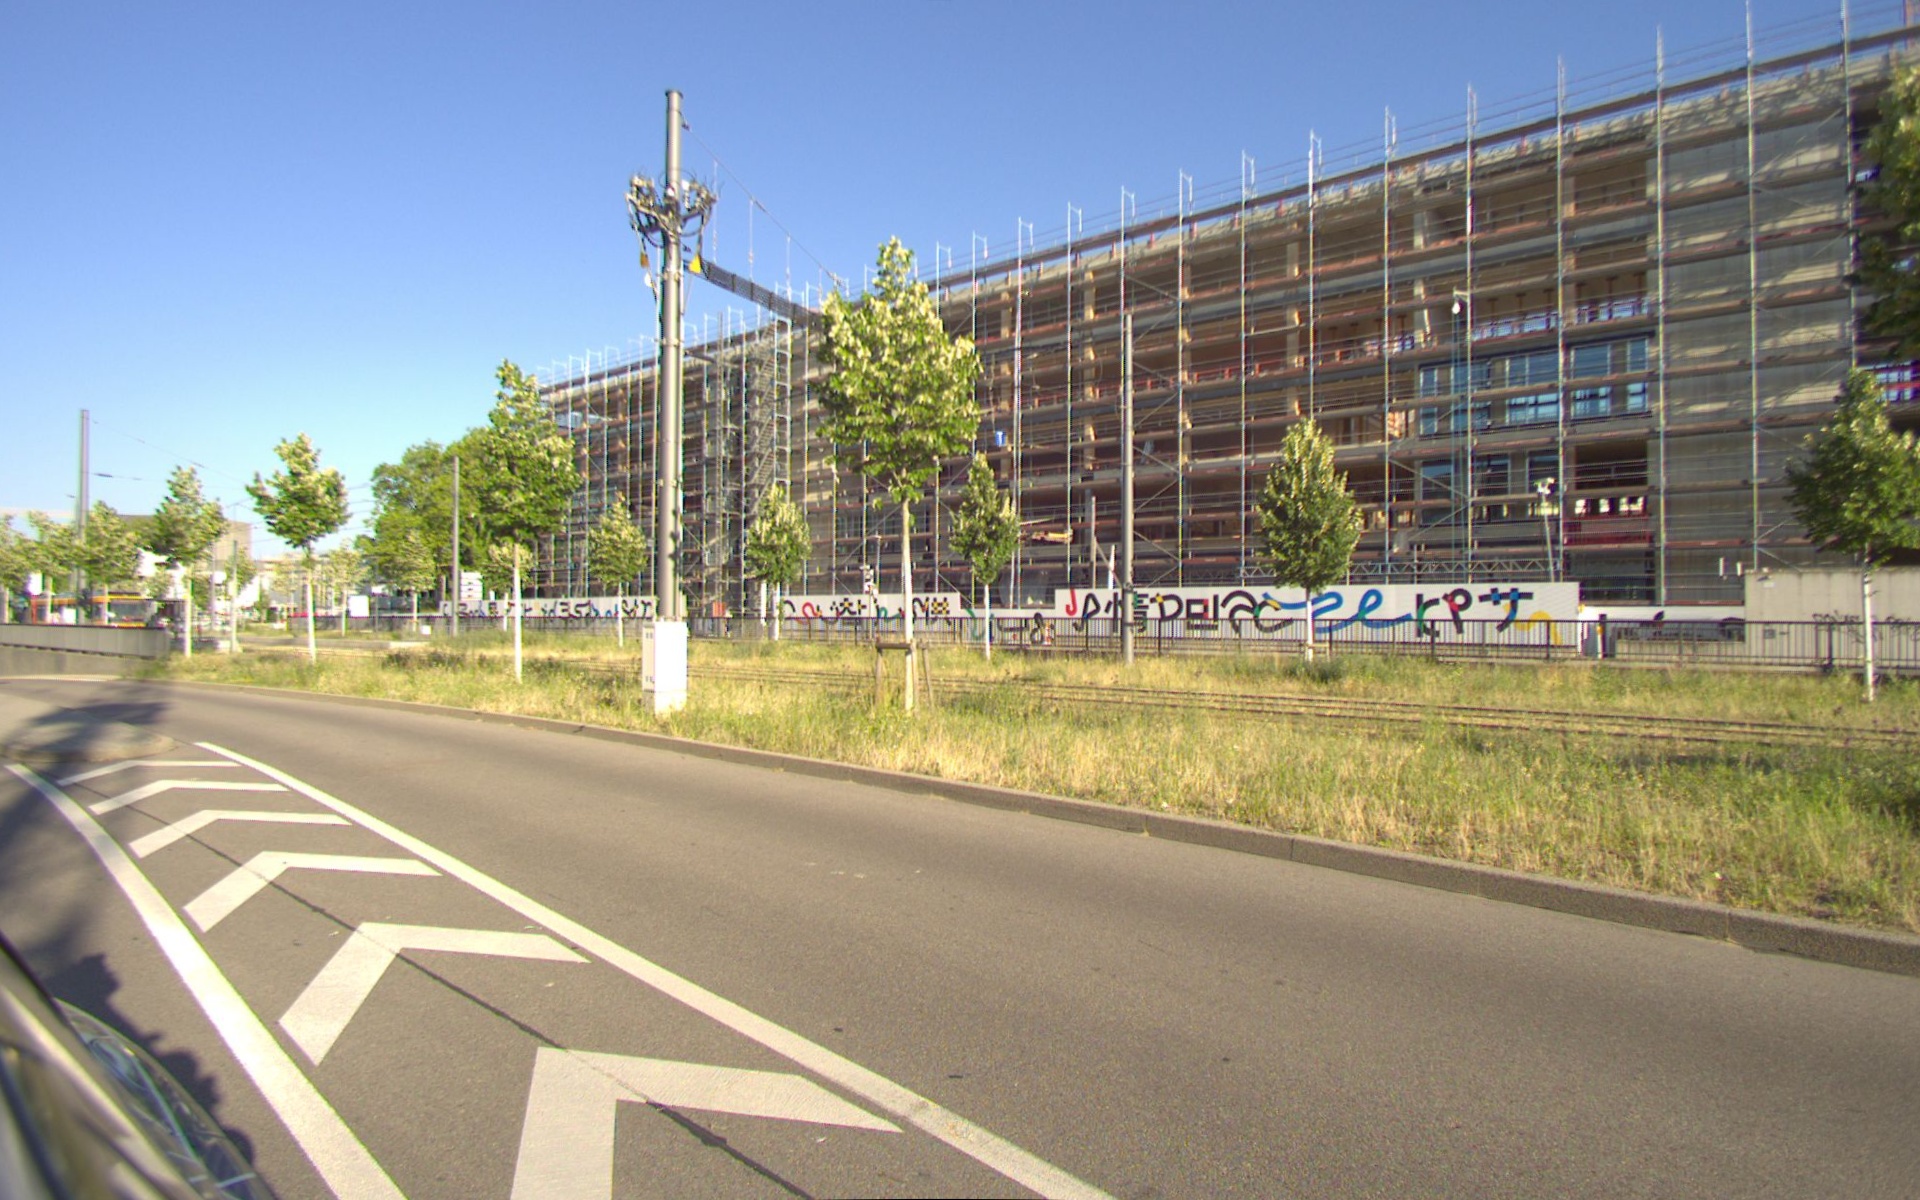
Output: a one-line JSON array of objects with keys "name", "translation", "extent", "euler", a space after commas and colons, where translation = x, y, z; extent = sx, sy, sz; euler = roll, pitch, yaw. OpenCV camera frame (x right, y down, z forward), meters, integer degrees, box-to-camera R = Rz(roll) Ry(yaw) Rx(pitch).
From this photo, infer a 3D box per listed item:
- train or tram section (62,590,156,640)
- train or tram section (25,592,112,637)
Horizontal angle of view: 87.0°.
[{"name": "train or tram section", "translation": [-62.649, 1.093, 74.375], "extent": [12.619, 3.423, 2.917], "euler": [-1, 0, 39]}, {"name": "train or tram section", "translation": [-73.301, 1.196, 83.025], "extent": [14.749, 3.423, 2.917], "euler": [-1, 0, 39]}]
